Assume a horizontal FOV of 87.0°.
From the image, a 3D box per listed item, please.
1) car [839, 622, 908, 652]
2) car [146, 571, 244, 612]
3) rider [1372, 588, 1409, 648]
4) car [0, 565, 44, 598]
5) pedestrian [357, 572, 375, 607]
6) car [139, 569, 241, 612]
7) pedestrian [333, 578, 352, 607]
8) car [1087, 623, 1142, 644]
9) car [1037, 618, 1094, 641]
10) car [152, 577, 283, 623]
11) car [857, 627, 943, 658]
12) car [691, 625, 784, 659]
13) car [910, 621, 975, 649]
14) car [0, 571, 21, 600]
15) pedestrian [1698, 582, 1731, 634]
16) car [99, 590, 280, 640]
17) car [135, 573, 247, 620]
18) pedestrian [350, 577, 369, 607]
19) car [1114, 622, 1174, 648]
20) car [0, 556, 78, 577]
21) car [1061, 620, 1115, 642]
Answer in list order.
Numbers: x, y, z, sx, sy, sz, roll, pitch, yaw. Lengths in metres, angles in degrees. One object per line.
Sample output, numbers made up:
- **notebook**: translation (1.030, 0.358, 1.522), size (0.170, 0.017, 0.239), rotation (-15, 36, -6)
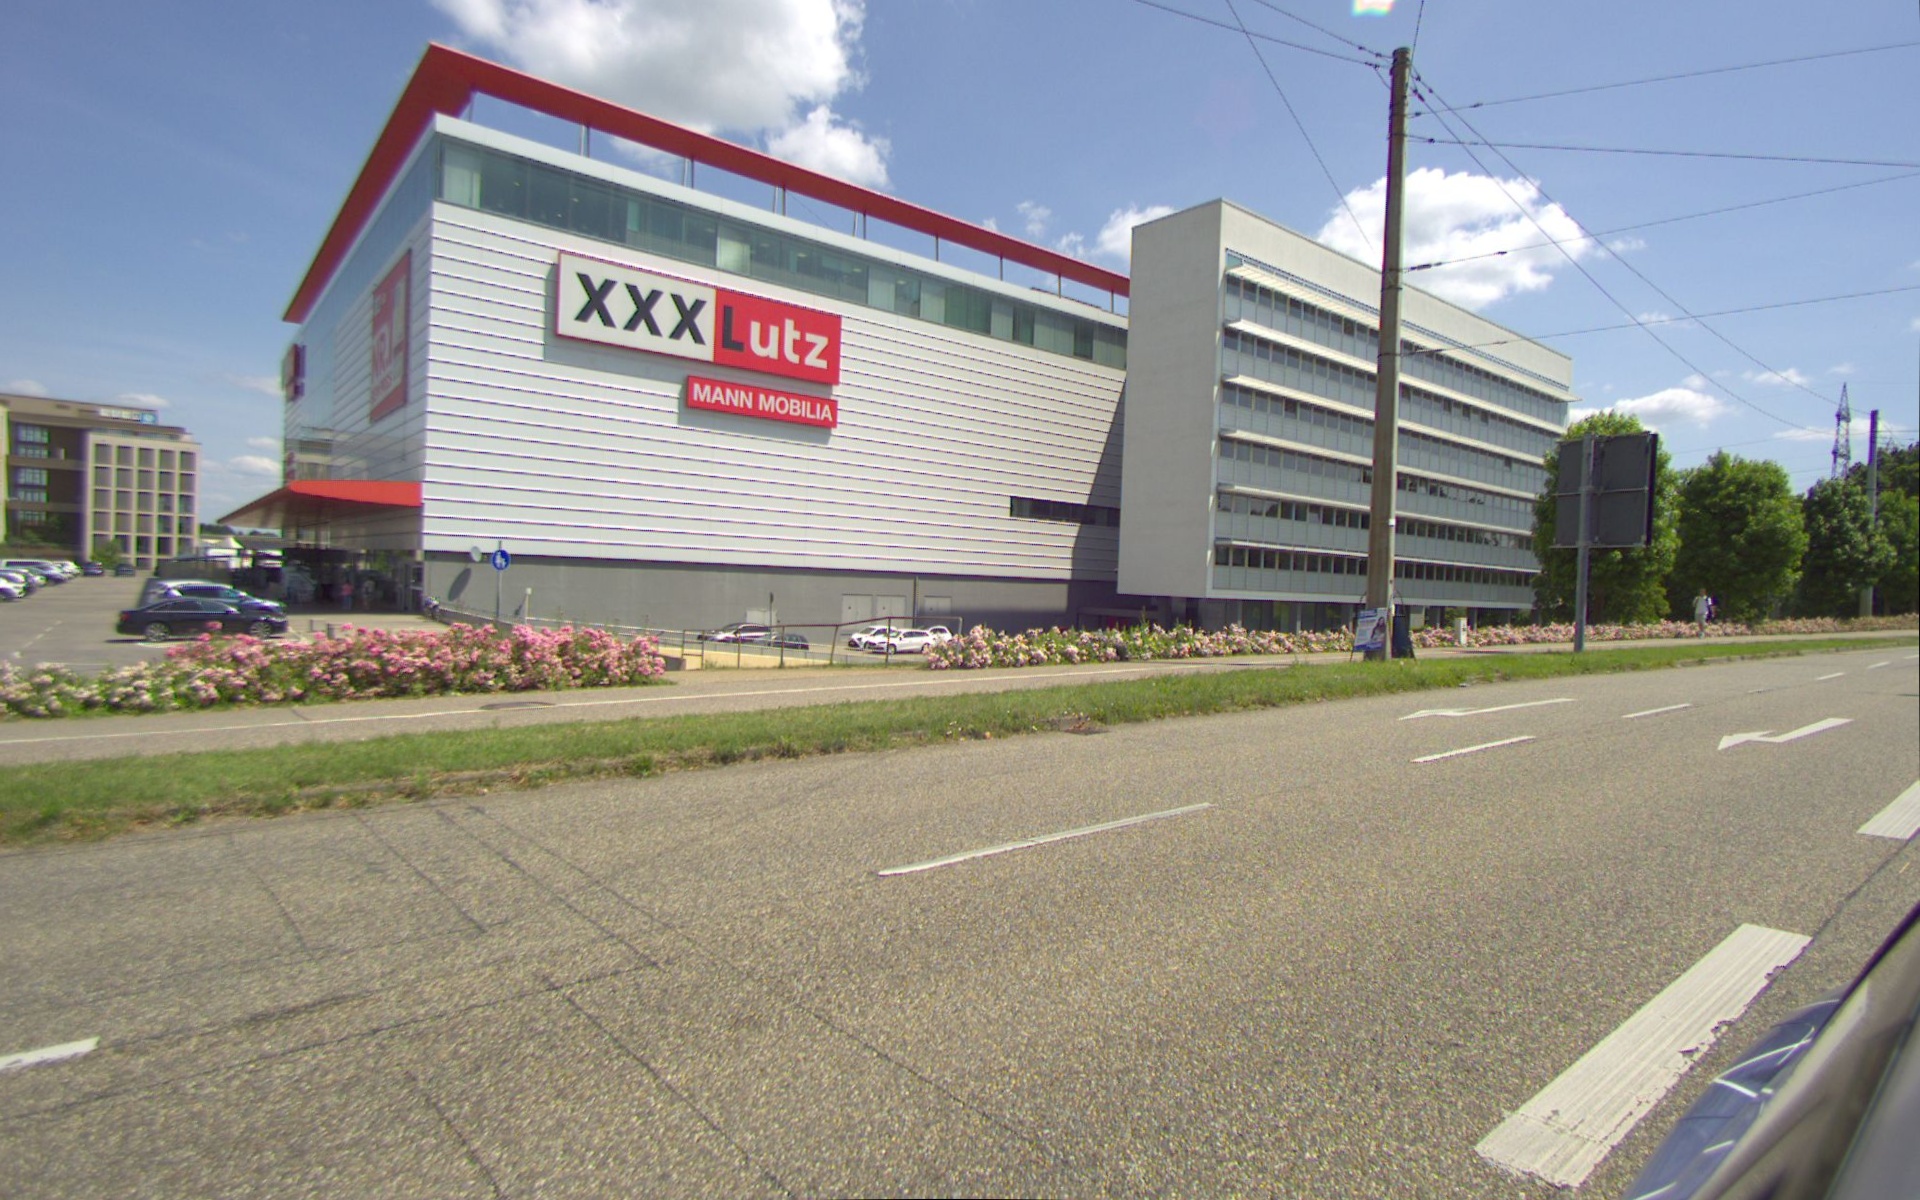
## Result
- **car**: translation (-5.378, 2.284, 63.269), size (3.930, 1.632, 1.997), rotation (0, 1, -41)
- **car**: translation (-39.594, -0.454, 52.428), size (3.930, 2.039, 1.997), rotation (0, 1, -41)
- **rider**: translation (10.915, 0.449, 25.669), size (0.607, 1.476, 0.670), rotation (0, 0, -41)
- **car**: translation (-58.920, -1.150, 62.132), size (3.930, 2.039, 1.997), rotation (0, 1, -41)
- **pedestrian**: translation (-32.436, -0.576, 55.251), size (0.723, 1.893, 0.741), rotation (0, 0, -42)
- **car**: translation (-38.165, -0.447, 50.197), size (3.930, 2.039, 1.997), rotation (0, 0, -41)
- **pedestrian**: translation (-33.241, -0.413, 54.460), size (0.723, 1.577, 0.741), rotation (0, 0, -42)
- **car**: translation (10.663, 2.305, 69.928), size (3.930, 1.338, 1.607), rotation (0, 1, -41)
- **car**: translation (7.713, 2.127, 73.730), size (3.930, 1.465, 1.997), rotation (0, 1, -41)
- **car**: translation (-30.868, 0.019, 42.127), size (4.257, 1.804, 1.997), rotation (0, -1, -41)
- **car**: translation (-3.621, 2.564, 61.269), size (5.056, 1.632, 1.997), rotation (0, 1, -41)
- **car**: translation (-11.943, 2.224, 54.449), size (4.509, 1.632, 1.997), rotation (0, 1, -41)
- **car**: translation (-1.158, 2.273, 66.744), size (3.930, 1.632, 1.997), rotation (0, 1, -41)
- **car**: translation (-54.992, -0.826, 55.590), size (4.912, 1.631, 1.997), rotation (0, 0, -41)
- **pedestrian**: translation (27.723, 0.277, 37.179), size (0.913, 1.872, 0.758), rotation (0, 0, -38)
- **car**: translation (-26.780, 0.487, 35.286), size (4.912, 1.631, 1.997), rotation (0, 0, -41)
- **car**: translation (-34.836, -0.174, 45.884), size (3.930, 2.039, 1.997), rotation (0, 1, -41)
- **pedestrian**: translation (-32.034, -0.421, 53.989), size (0.723, 1.577, 0.741), rotation (0, 0, -42)
- **car**: translation (12.392, 2.327, 68.099), size (3.930, 1.632, 1.997), rotation (0, 1, -41)
- **car**: translation (-78.998, -2.832, 86.844), size (4.912, 1.631, 1.997), rotation (0, 0, -41)
- **car**: translation (9.108, 2.208, 71.808), size (3.930, 1.403, 1.646), rotation (0, 1, -41)
